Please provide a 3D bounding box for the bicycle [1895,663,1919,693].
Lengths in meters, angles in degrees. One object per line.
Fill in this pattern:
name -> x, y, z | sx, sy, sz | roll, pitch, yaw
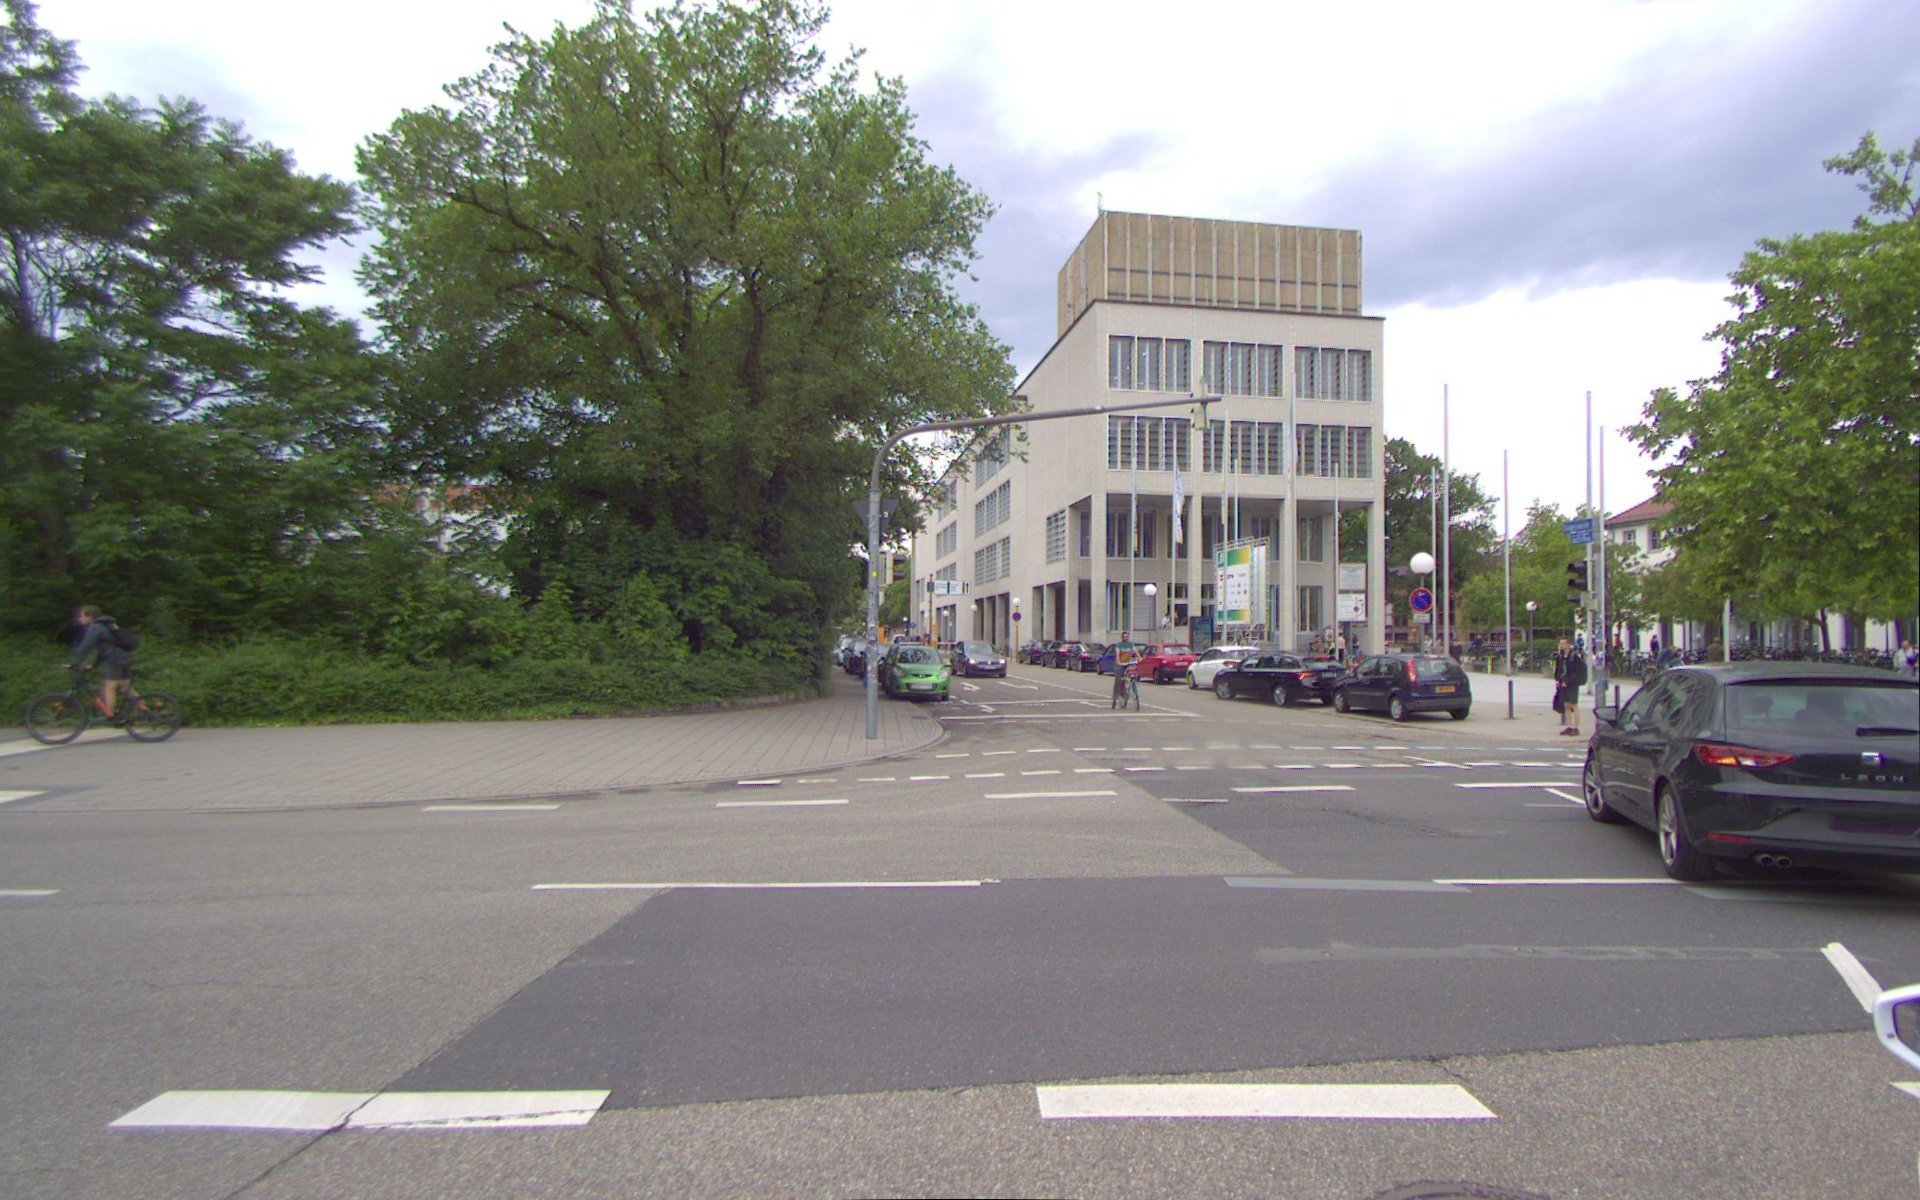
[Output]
bicycle -> 41.188, 3.358, 42.139 | 0.734, 1.185, 3.104 | 2, 0, -7

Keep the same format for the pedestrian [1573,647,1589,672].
pedestrian -> 42.527, 4.076, 68.811 | 0.651, 1.662, 0.665 | 1, -2, -11

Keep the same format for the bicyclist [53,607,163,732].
bicyclist -> -11.582, 0.922, 13.691 | 0.909, 1.630, 0.763 | 1, 0, -20

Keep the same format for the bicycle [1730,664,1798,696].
bicycle -> 28.840, 2.864, 36.064 | 0.450, 1.063, 1.925 | 0, -2, -22

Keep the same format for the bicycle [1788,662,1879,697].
bicycle -> 35.884, 3.236, 41.339 | 0.734, 1.185, 3.104 | 2, 0, -7

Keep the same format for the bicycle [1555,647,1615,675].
bicycle -> 30.978, 3.016, 49.846 | 0.734, 1.185, 3.104 | 2, 0, -7

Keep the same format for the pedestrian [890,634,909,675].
pedestrian -> -2.549, 2.290, 42.344 | 0.727, 1.684, 0.967 | 0, -1, -8

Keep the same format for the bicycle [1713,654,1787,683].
bicycle -> 37.165, 3.204, 47.324 | 0.734, 1.185, 3.104 | 2, 0, -8

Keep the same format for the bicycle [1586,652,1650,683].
bicycle -> 30.196, 3.088, 46.177 | 0.610, 1.185, 3.104 | 2, 0, -7

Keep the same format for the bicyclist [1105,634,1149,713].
bicyclist -> 3.925, 1.714, 23.627 | 0.648, 1.803, 0.981 | 0, -2, -16

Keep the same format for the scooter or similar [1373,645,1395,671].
scooter or similar -> 23.509, 3.198, 55.710 | 1.478, 1.388, 0.401 | 2, 0, -37

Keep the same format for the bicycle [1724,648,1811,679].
bicycle -> 32.659, 2.541, 40.682 | 0.734, 1.185, 3.105 | 1, -2, -7

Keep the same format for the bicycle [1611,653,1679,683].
bicycle -> 31.608, 3.132, 46.438 | 0.734, 1.185, 3.104 | 2, 0, -7

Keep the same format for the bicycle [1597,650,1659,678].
bicycle -> 33.513, 3.209, 50.462 | 0.734, 1.185, 3.104 | 2, 0, -7

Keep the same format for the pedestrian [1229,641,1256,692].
pedestrian -> 10.195, 2.387, 36.262 | 0.777, 1.811, 0.822 | 0, -2, 3

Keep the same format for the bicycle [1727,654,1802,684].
bicycle -> 37.925, 3.227, 47.416 | 0.734, 1.185, 3.104 | 2, 0, -8

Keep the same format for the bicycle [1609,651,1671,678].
bicycle -> 34.286, 3.234, 50.693 | 0.734, 1.185, 3.104 | 2, 0, -7

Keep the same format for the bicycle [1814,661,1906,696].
bicycle -> 37.032, 3.228, 41.413 | 0.734, 1.185, 3.104 | 2, 0, -7

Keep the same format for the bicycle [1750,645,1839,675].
bicycle -> 33.826, 2.410, 40.797 | 0.734, 1.185, 3.105 | 1, -2, -7

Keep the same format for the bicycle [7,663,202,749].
bicycle -> -11.594, 1.416, 13.687 | 1.837, 1.051, 0.779 | 1, 0, -21

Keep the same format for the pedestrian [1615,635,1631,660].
pedestrian -> 45.093, 3.233, 68.331 | 0.651, 1.662, 0.665 | 1, -2, -11

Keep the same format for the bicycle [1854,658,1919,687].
bicycle -> 44.587, 3.431, 47.928 | 0.734, 1.185, 3.104 | 2, 0, -8

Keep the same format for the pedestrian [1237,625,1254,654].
pedestrian -> 15.854, 2.191, 55.797 | 0.702, 1.547, 0.630 | 2, 0, -8

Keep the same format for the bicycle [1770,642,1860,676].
bicycle -> 34.825, 2.378, 40.972 | 0.734, 1.185, 3.104 | 2, 0, -7

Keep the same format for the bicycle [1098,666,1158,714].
bicycle -> 3.924, 2.086, 23.608 | 0.648, 1.051, 1.852 | 0, -3, -16

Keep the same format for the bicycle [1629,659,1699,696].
bicycle -> 25.897, 2.826, 37.022 | 0.449, 1.185, 2.408 | 2, 0, -13

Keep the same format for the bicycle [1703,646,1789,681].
bicycle -> 31.546, 2.517, 40.394 | 0.734, 1.185, 3.104 | 2, 0, -7

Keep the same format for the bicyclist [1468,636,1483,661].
bicyclist -> 34.419, 3.236, 67.042 | 0.860, 1.662, 0.867 | 0, -2, 26

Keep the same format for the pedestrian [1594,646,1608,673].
pedestrian -> 39.945, 3.699, 62.606 | 0.652, 1.662, 0.663 | -2, -3, 37

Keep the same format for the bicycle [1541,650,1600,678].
bicycle -> 30.205, 3.139, 49.746 | 0.734, 1.185, 3.104 | 2, 0, -7

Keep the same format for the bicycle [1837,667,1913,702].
bicycle -> 30.207, 2.783, 33.192 | 0.449, 1.063, 1.931 | 0, -2, -13
